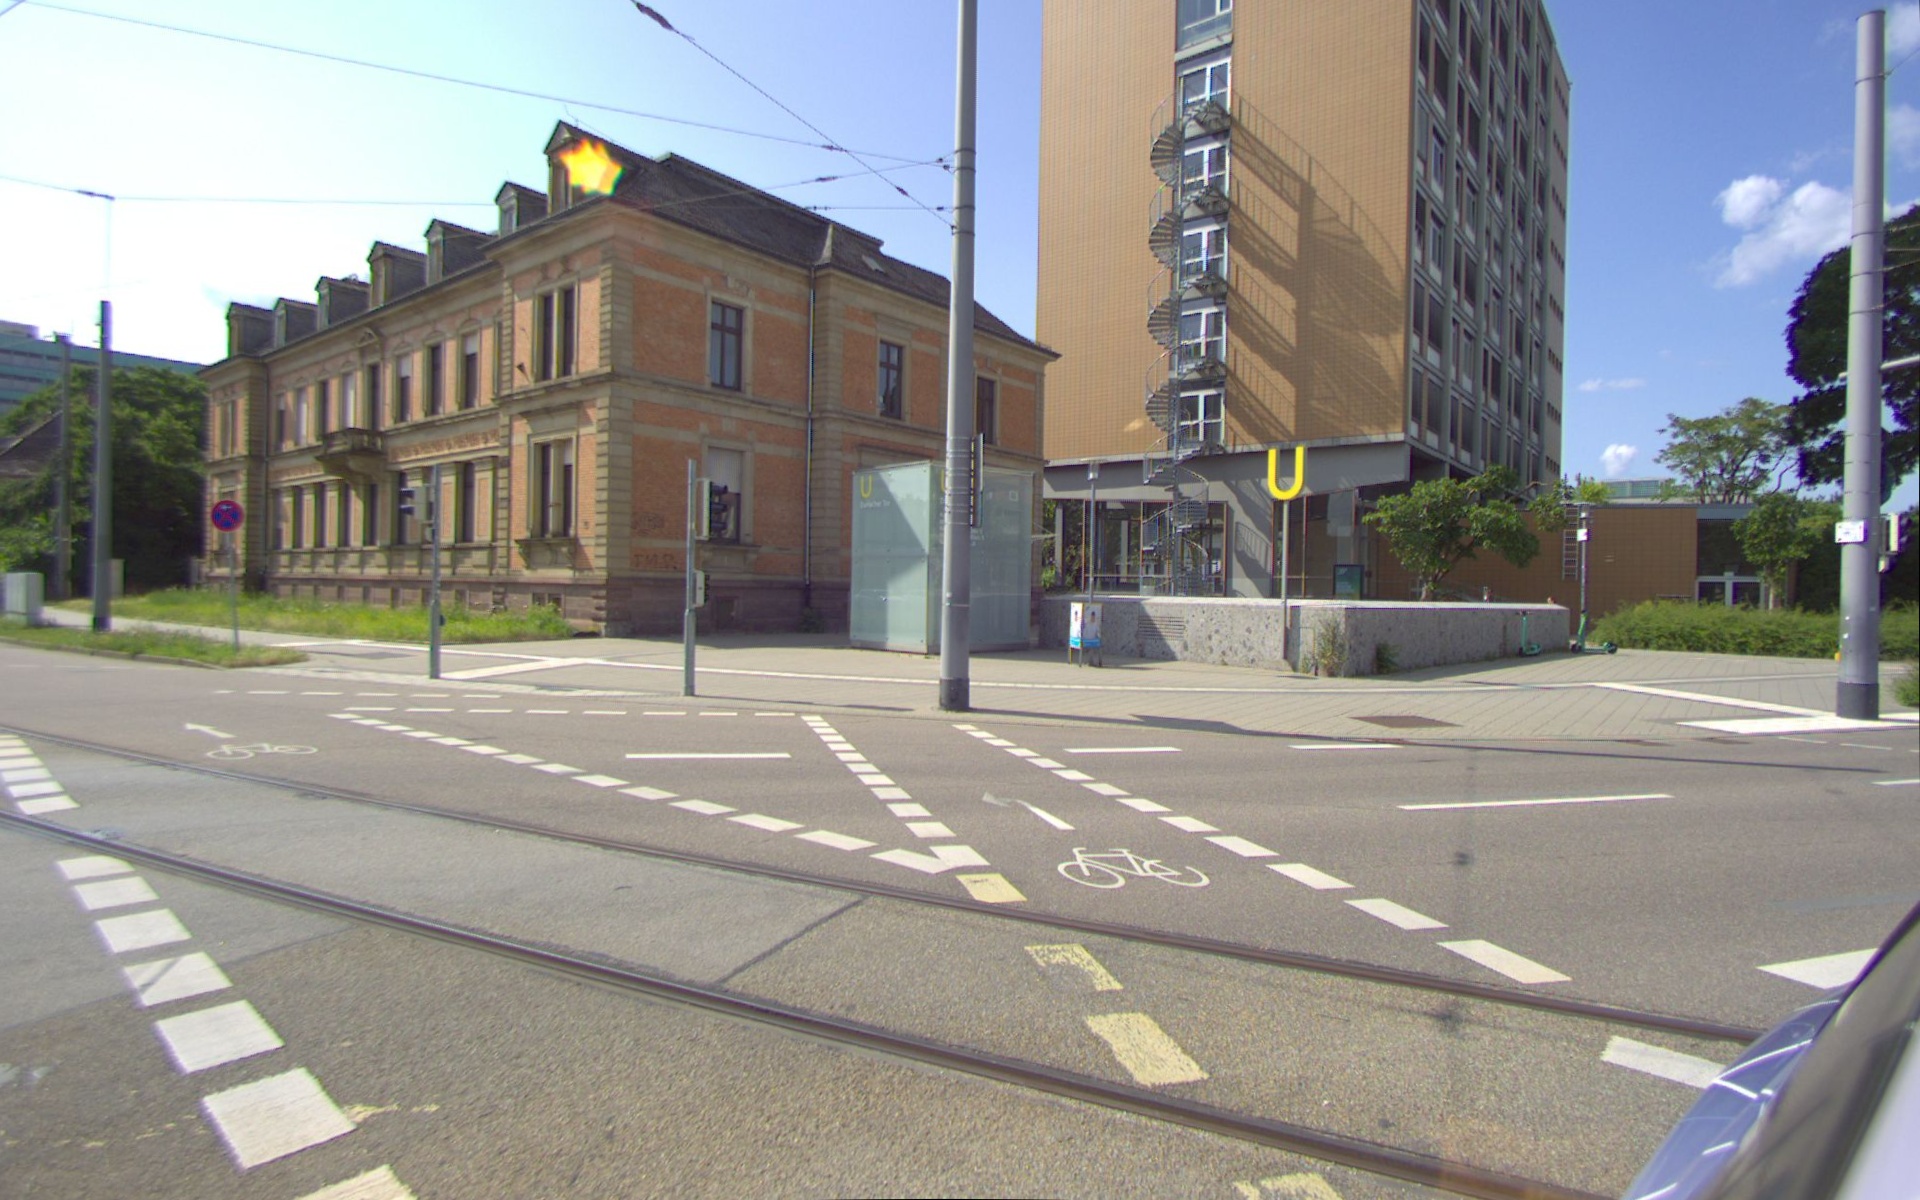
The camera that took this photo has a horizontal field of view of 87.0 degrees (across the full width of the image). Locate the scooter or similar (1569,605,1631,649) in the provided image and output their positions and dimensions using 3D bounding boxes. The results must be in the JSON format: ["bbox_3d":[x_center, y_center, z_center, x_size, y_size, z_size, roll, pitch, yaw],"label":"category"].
[{"bbox_3d":[17.427,0.733,27.565,1.302,1.117,0.463,2,1,19],"label":"scooter or similar"}]

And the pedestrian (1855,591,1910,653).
[{"bbox_3d":[25.696,0.611,28.212,0.879,1.642,0.611,3,3,22],"label":"pedestrian"}]

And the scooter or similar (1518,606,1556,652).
[{"bbox_3d":[14.733,0.727,25.817,0.465,1.132,1.423,3,2,44],"label":"scooter or similar"}]

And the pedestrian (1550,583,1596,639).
[{"bbox_3d":[18.855,0.316,31.168,1.086,1.642,0.610,3,3,27],"label":"pedestrian"}]
